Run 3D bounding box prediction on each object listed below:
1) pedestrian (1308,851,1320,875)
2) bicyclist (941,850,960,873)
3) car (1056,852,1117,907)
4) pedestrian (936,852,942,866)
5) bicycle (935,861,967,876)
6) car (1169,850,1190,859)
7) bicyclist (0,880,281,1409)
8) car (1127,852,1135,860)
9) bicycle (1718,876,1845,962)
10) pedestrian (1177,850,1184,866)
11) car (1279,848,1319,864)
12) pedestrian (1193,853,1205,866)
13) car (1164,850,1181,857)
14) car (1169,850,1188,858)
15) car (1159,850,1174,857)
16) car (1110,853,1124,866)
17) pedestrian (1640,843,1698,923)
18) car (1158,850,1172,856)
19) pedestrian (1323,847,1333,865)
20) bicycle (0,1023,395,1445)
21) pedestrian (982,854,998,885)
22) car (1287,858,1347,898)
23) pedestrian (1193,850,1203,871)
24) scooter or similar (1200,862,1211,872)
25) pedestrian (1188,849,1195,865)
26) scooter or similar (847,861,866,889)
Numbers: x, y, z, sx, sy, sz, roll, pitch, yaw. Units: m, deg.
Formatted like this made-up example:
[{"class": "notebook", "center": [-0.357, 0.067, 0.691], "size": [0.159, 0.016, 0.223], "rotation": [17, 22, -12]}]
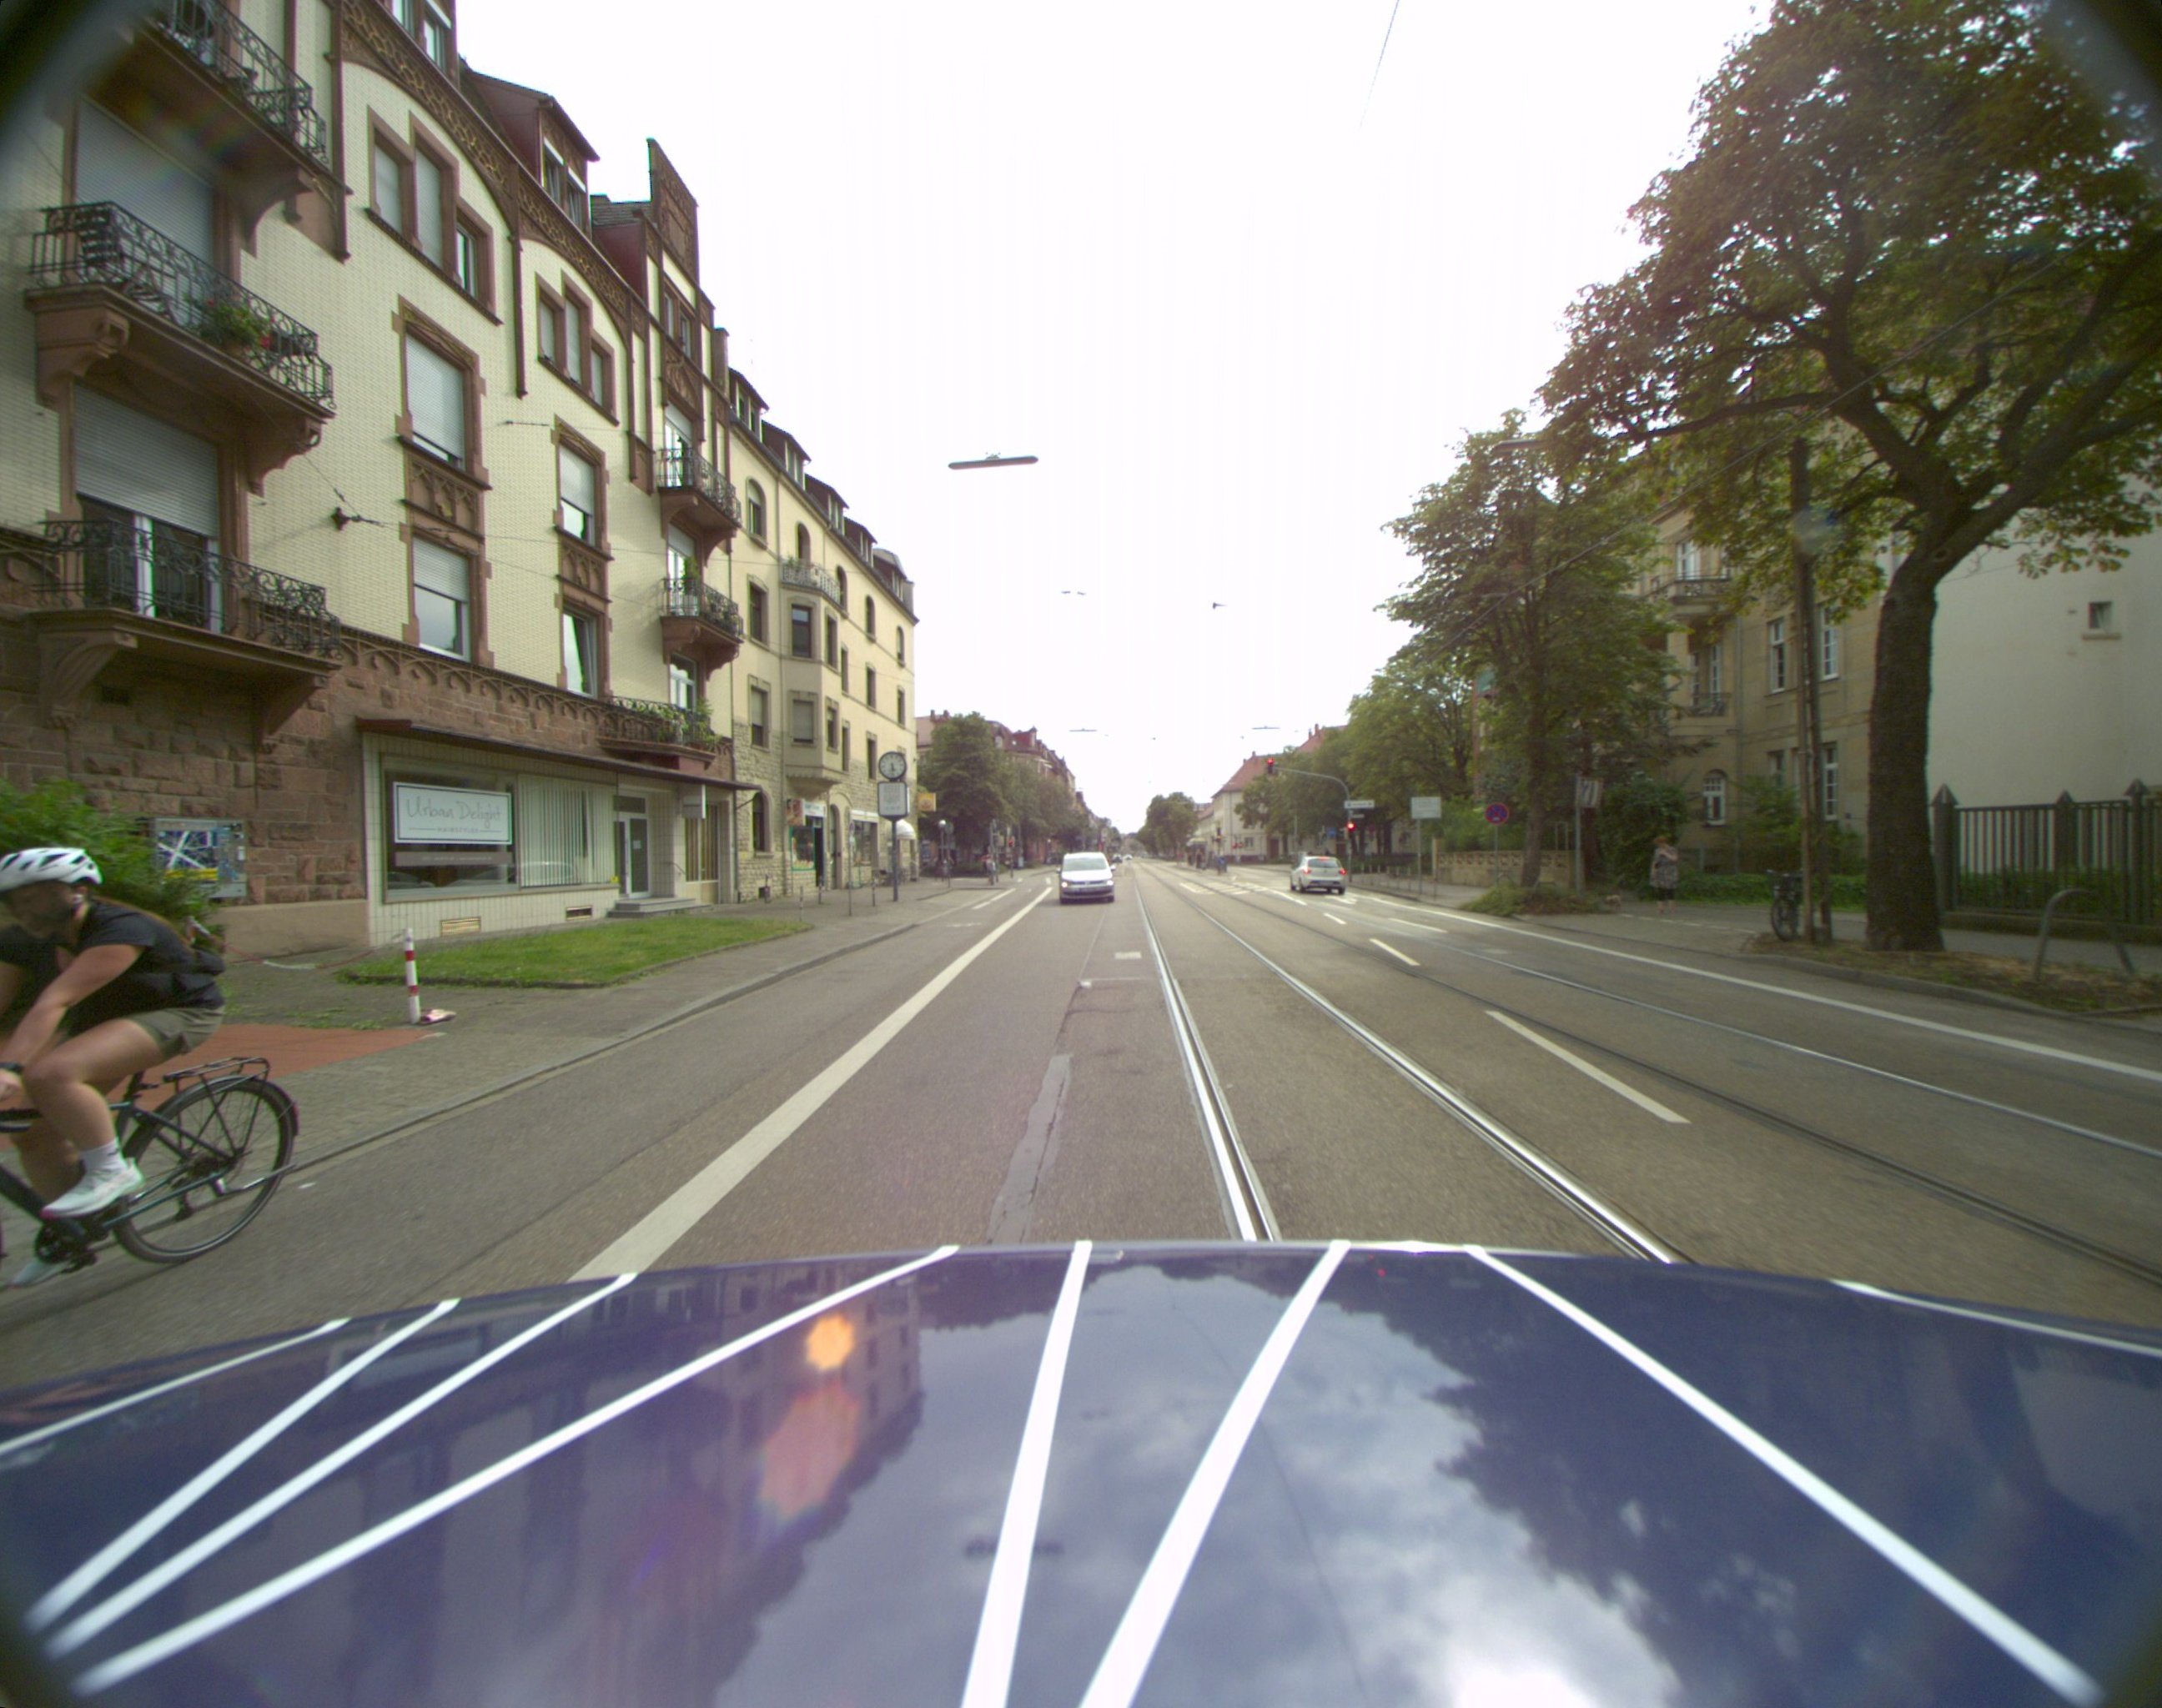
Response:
[{"class": "pedestrian", "center": [17.059, 0.654, 55.550], "size": [0.654, 1.680, 0.712], "rotation": [-1, 1, -1]}, {"class": "bicyclist", "center": [-9.617, 0.549, 55.808], "size": [0.841, 1.680, 1.243], "rotation": [-1, 0, -40]}, {"class": "car", "center": [0.272, 0.817, 26.594], "size": [1.766, 1.661, 4.330], "rotation": [-2, 0, 4]}, {"class": "pedestrian", "center": [-17.718, 0.618, 95.052], "size": [0.612, 1.684, 0.641], "rotation": [-1, 1, -2]}, {"class": "bicycle", "center": [-9.550, 1.073, 55.757], "size": [0.888, 1.039, 3.088], "rotation": [-1, 0, -41]}, {"class": "car", "center": [19.844, 0.057, 153.464], "size": [3.995, 1.716, 1.877], "rotation": [-2, 0, 6]}, {"class": "bicyclist", "center": [-3.593, 0.899, 2.504], "size": [0.640, 1.561, 1.110], "rotation": [-2, 1, 1]}, {"class": "car", "center": [13.410, 0.463, 204.945], "size": [1.998, 2.002, 4.001], "rotation": [-2, 0, 5]}, {"class": "bicycle", "center": [11.317, 0.995, 12.254], "size": [2.239, 1.168, 0.833], "rotation": [-2, 1, -29]}, {"class": "pedestrian", "center": [11.587, 0.468, 88.646], "size": [0.658, 1.824, 0.464], "rotation": [-2, 1, -10]}, {"class": "car", "center": [26.349, 0.278, 92.002], "size": [4.188, 1.854, 1.857], "rotation": [-2, 0, 38]}, {"class": "pedestrian", "center": [11.695, 0.550, 75.266], "size": [1.032, 1.229, 0.724], "rotation": [-2, 1, 2]}, {"class": "car", "center": [21.987, -0.099, 183.536], "size": [3.995, 1.716, 1.877], "rotation": [-2, 0, 6]}, {"class": "car", "center": [20.936, -0.006, 162.750], "size": [3.995, 1.716, 1.877], "rotation": [-2, 0, 6]}, {"class": "car", "center": [22.849, -0.182, 202.783], "size": [3.995, 1.716, 1.877], "rotation": [-2, 0, 6]}, {"class": "car", "center": [5.971, 0.927, 126.106], "size": [1.998, 2.002, 4.001], "rotation": [-2, 0, 5]}, {"class": "pedestrian", "center": [13.128, 0.642, 16.978], "size": [0.707, 1.725, 0.701], "rotation": [-2, 1, -1]}, {"class": "car", "center": [24.248, -0.277, 219.858], "size": [3.995, 1.716, 1.877], "rotation": [-2, 0, 6]}, {"class": "pedestrian", "center": [28.394, 0.246, 87.445], "size": [0.862, 2.002, 0.766], "rotation": [-1, 1, 38]}, {"class": "bicycle", "center": [-3.569, 1.295, 2.514], "size": [0.640, 0.975, 2.071], "rotation": [-3, 0, 1]}, {"class": "pedestrian", "center": [-5.034, 0.833, 42.003], "size": [0.721, 1.651, 0.759], "rotation": [3, 1, 0]}, {"class": "car", "center": [9.315, 0.898, 30.232], "size": [1.574, 1.408, 4.002], "rotation": [1, 0, 7]}, {"class": "pedestrian", "center": [9.492, 0.560, 61.534], "size": [0.684, 1.680, 0.815], "rotation": [-1, 1, 3]}, {"class": "scooter or similar", "center": [10.000, 1.043, 60.910], "size": [0.669, 0.708, 0.604], "rotation": [1, 2, 35]}, {"class": "pedestrian", "center": [12.095, 0.347, 83.162], "size": [0.588, 1.694, 0.619], "rotation": [-2, 1, 0]}, {"class": "scooter or similar", "center": [-9.848, 0.920, 33.340], "size": [0.398, 1.161, 1.197], "rotation": [1, 0, 4]}]
